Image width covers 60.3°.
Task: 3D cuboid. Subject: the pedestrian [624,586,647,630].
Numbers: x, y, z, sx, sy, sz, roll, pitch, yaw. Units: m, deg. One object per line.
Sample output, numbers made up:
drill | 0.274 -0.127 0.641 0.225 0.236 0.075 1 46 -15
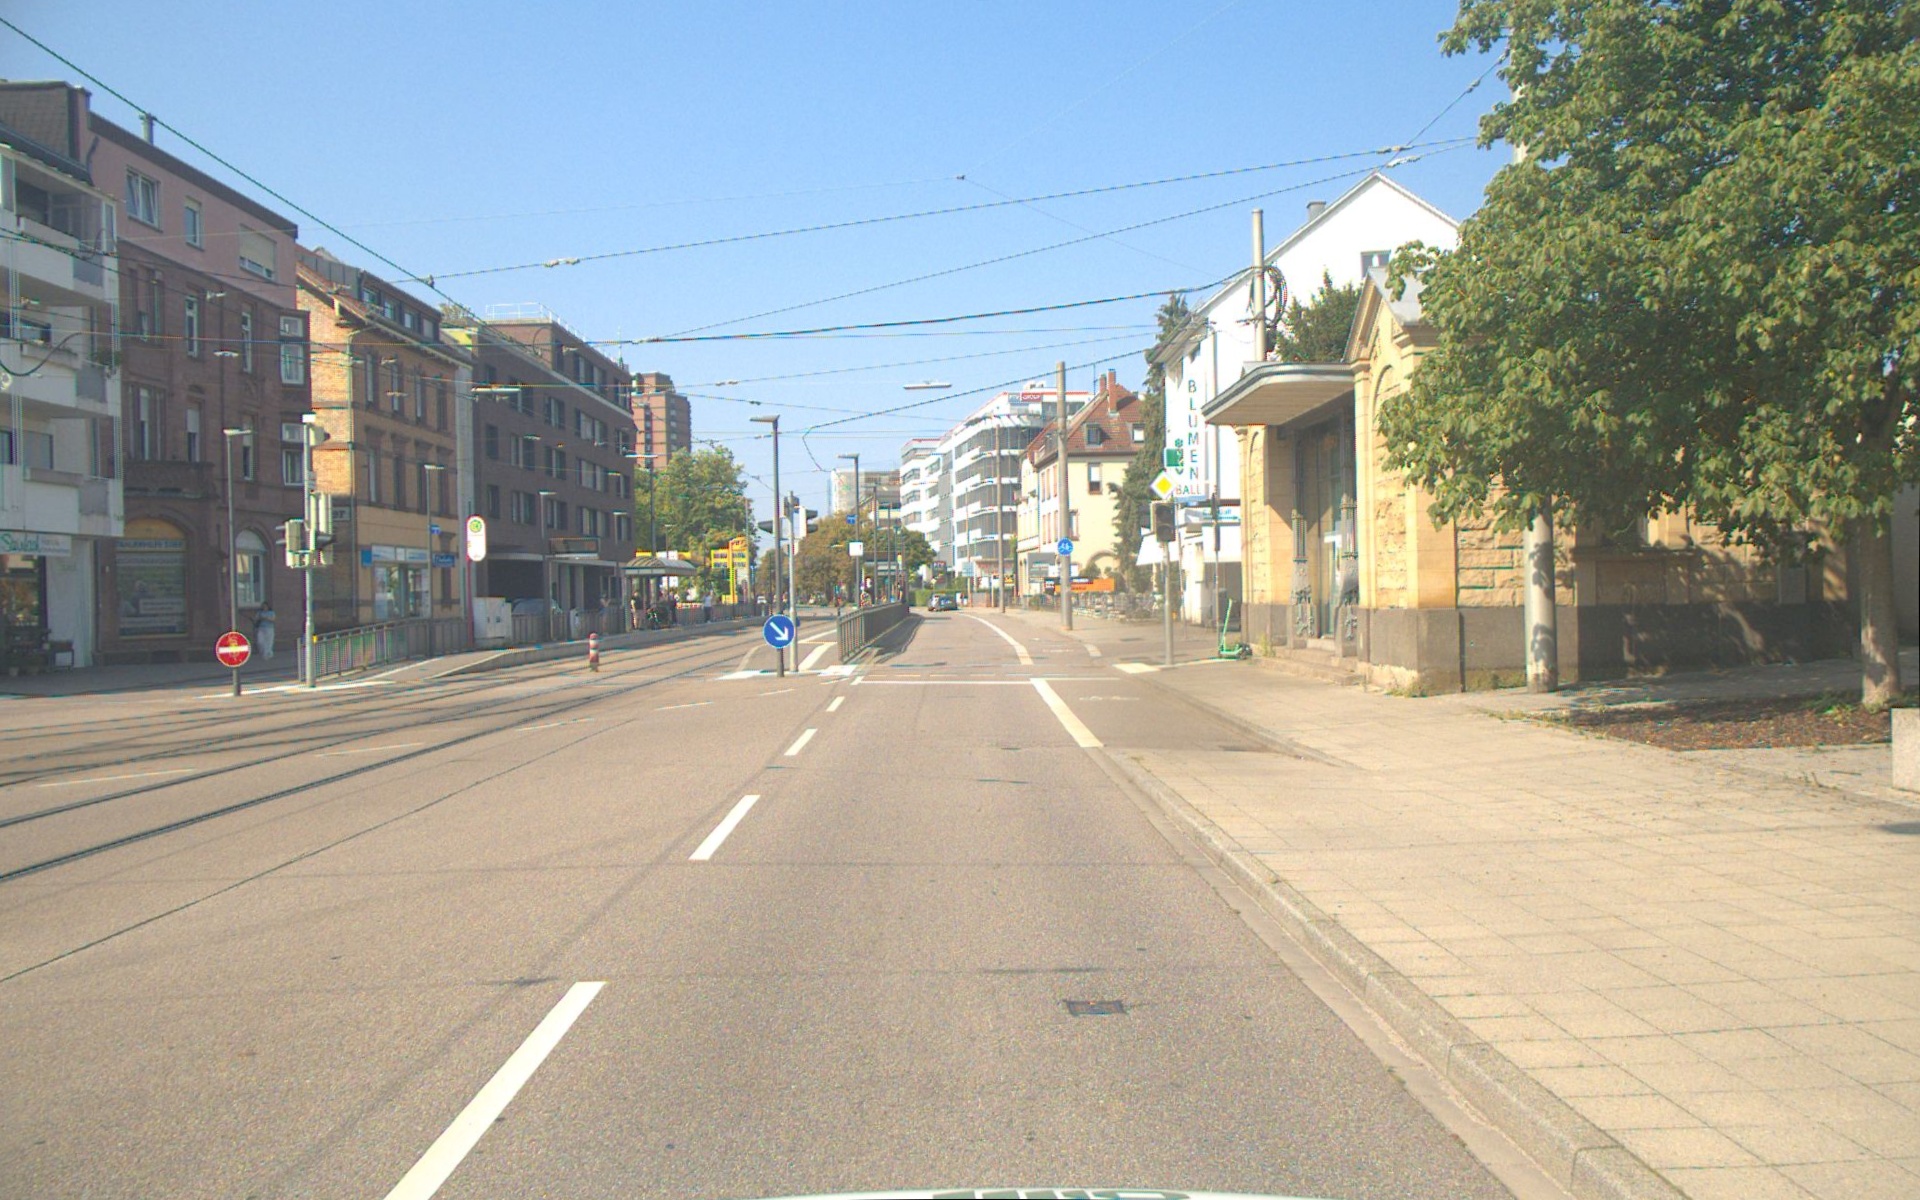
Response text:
pedestrian | -13.359 0.315 68.188 0.693 1.777 0.799 -3 0 0

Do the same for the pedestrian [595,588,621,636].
pedestrian | -13.084 0.450 61.526 0.693 1.753 0.799 -3 0 0

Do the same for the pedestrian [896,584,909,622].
pedestrian | -2.703 0.131 77.418 0.525 1.732 0.581 -3 0 -3

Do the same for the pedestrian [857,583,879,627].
pedestrian | -3.678 0.195 66.091 0.705 1.732 0.884 -3 0 0

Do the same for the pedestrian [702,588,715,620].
pedestrian | -12.472 0.213 81.870 0.522 1.556 0.700 -3 0 -7

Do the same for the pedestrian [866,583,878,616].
pedestrian | -4.698 -0.039 88.208 0.525 1.732 0.581 -3 0 -3

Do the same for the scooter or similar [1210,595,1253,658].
scooter or similar | 5.215 0.497 31.807 0.512 1.153 1.511 -3 0 0

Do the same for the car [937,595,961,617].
car | -1.003 0.549 152.917 1.970 1.891 4.000 -3 0 1

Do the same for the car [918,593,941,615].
car | -2.906 0.375 159.108 1.970 1.891 4.000 -3 0 1

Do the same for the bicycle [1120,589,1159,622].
bicycle | 6.785 0.223 62.725 0.717 1.152 2.835 -5 0 -8

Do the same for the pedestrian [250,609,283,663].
pedestrian | -20.470 1.056 48.837 0.472 1.587 0.888 -1 -1 10
